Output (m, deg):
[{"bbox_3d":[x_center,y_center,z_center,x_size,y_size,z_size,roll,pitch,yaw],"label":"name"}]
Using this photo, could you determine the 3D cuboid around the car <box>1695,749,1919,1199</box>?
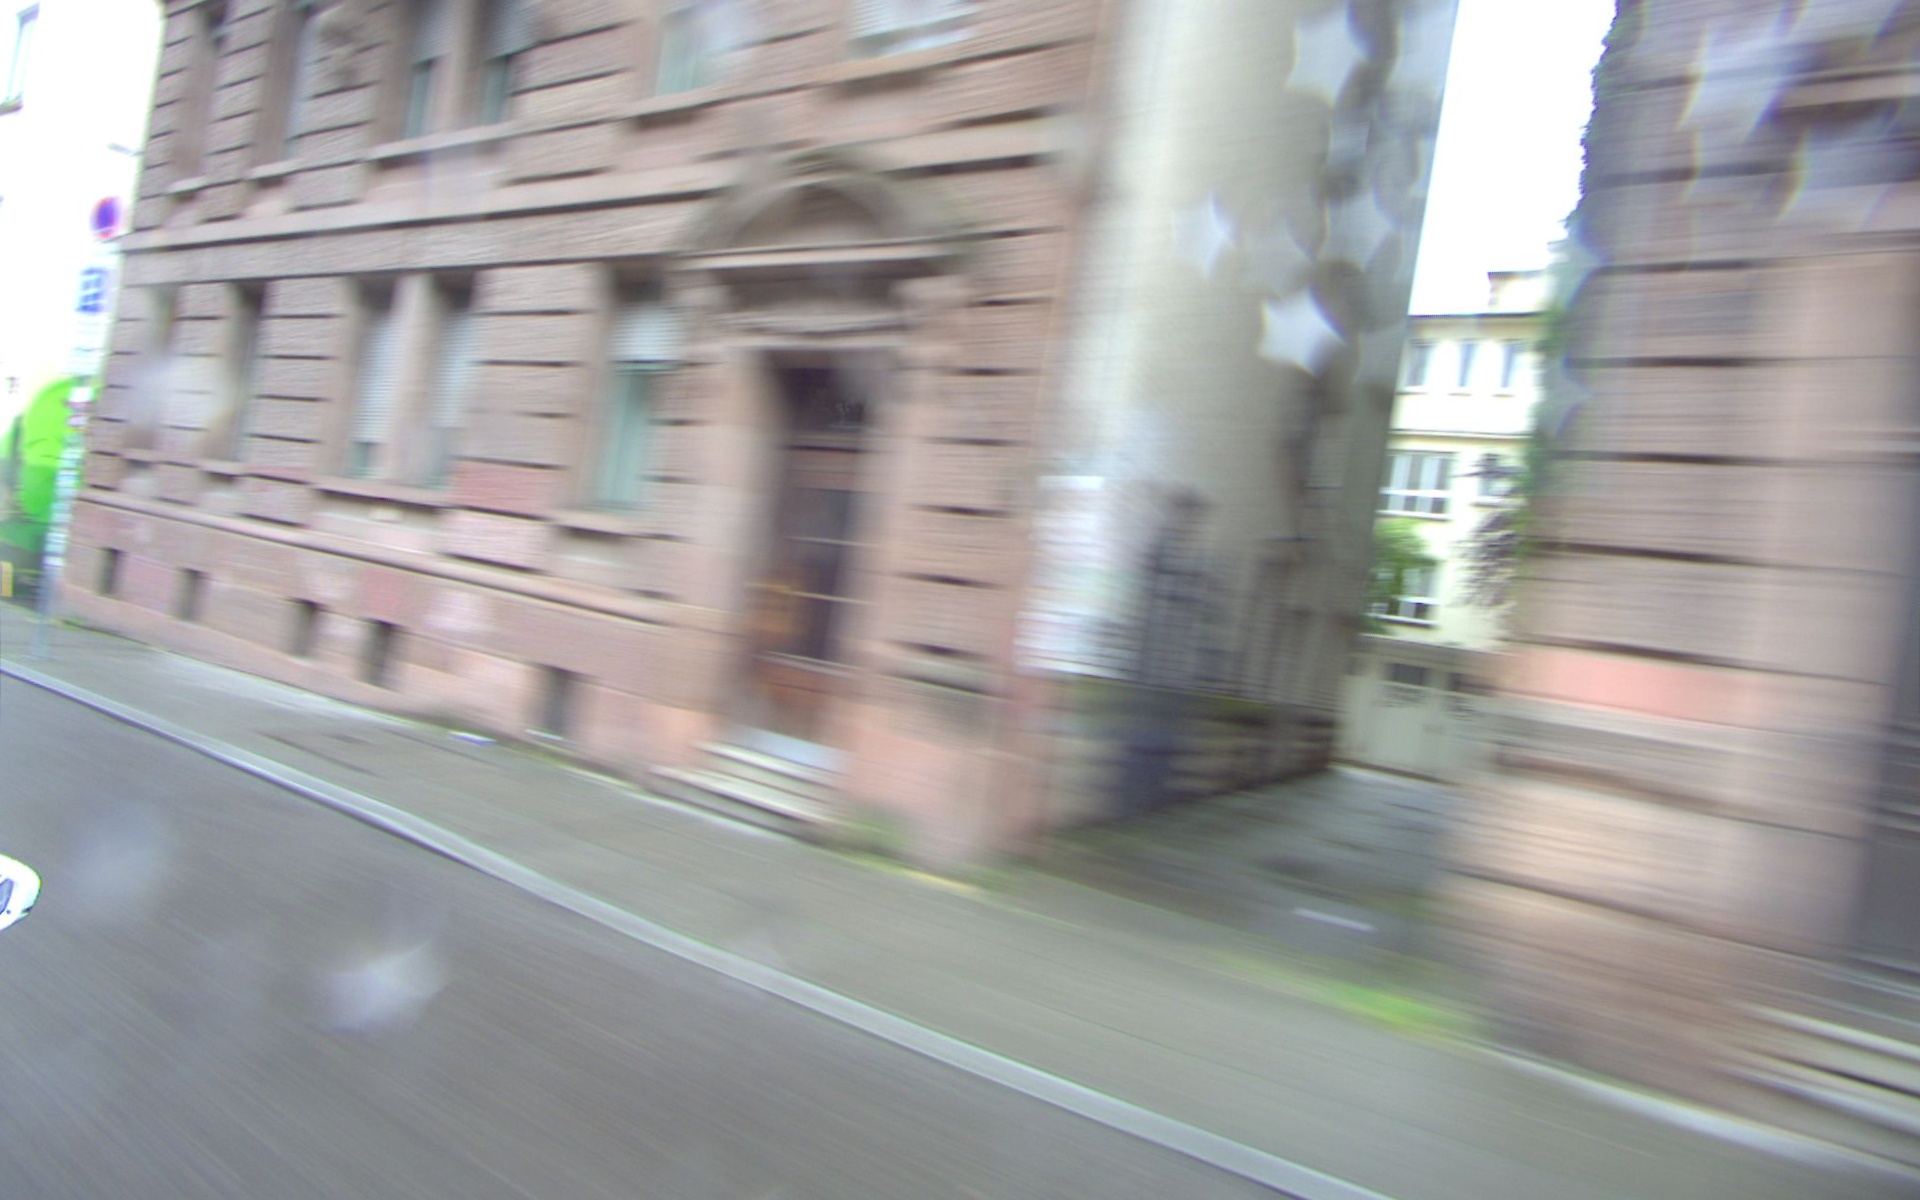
[{"bbox_3d":[2.916,1.168,0.630,3.756,1.476,1.581,6,-2,30],"label":"car"}]
